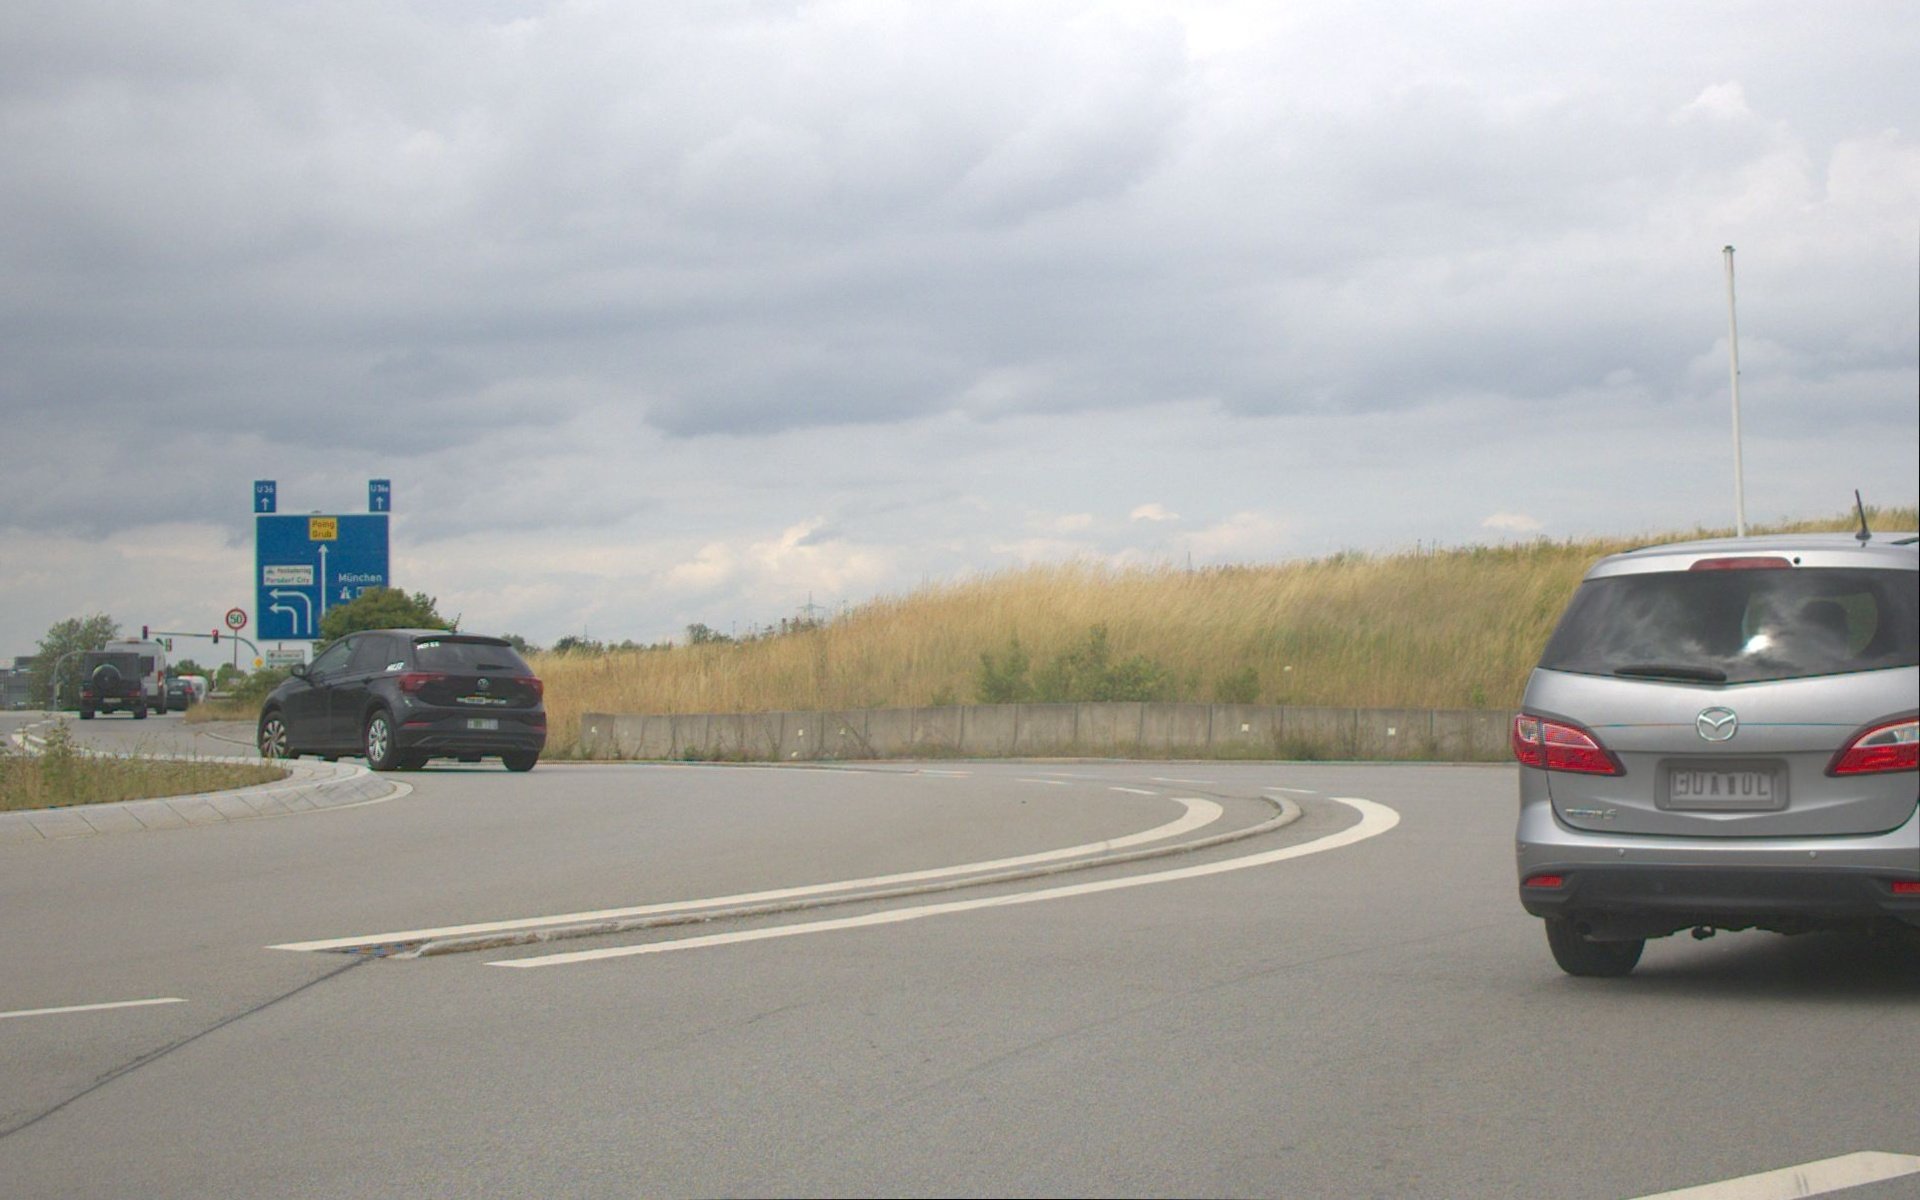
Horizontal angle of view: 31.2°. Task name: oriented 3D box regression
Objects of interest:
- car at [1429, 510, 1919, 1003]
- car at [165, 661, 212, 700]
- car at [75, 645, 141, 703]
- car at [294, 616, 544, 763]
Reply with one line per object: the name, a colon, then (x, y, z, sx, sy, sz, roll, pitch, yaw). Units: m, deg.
car: (3.464, 0.545, 13.047, 1.914, 1.569, 3.993, -1, -2, 31)
car: (-33.044, 3.429, 147.255, 1.598, 1.543, 4.047, -1, 0, -17)
car: (-24.819, 2.140, 100.111, 1.598, 1.543, 4.047, -1, 0, -17)
car: (-5.643, 0.882, 35.500, 1.661, 1.373, 4.001, -1, 0, -22)
